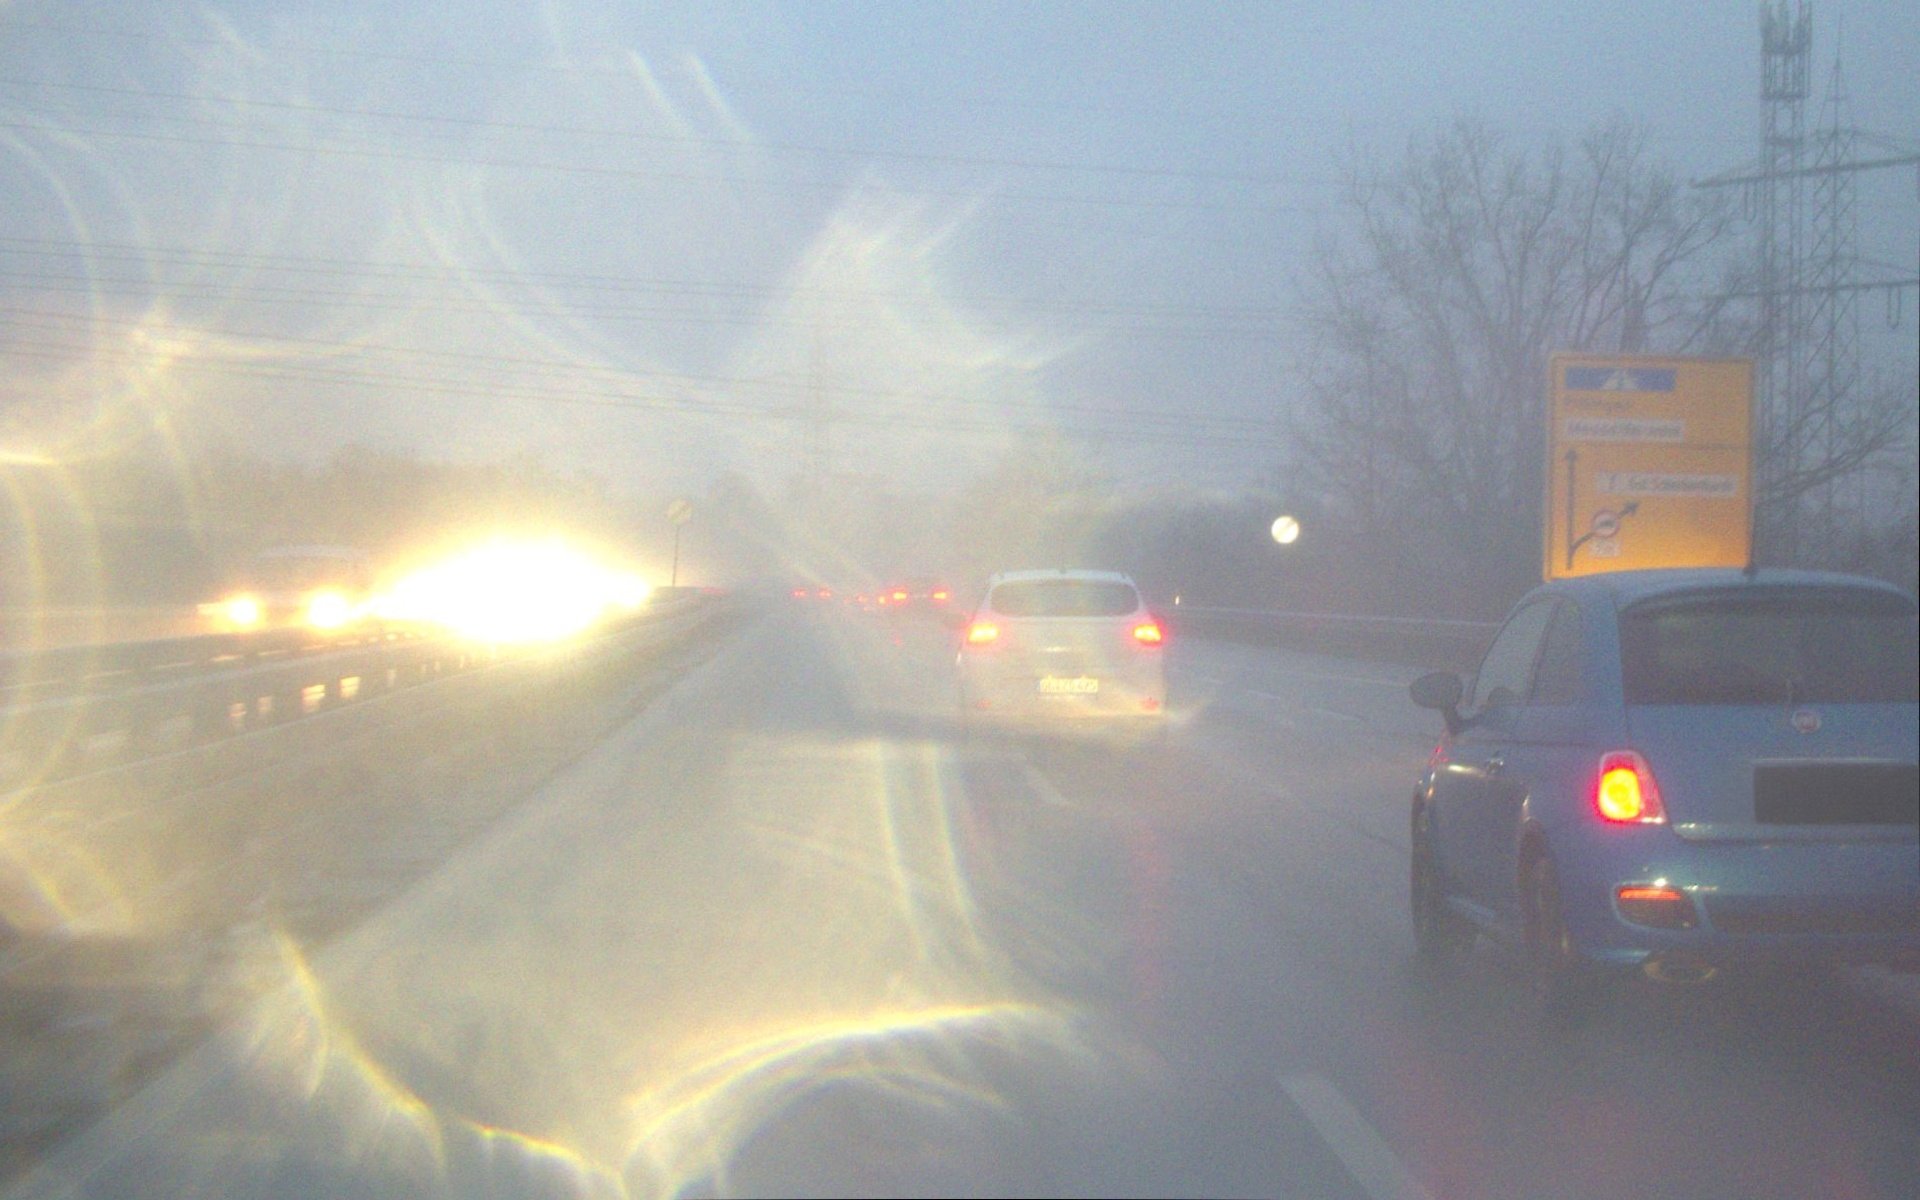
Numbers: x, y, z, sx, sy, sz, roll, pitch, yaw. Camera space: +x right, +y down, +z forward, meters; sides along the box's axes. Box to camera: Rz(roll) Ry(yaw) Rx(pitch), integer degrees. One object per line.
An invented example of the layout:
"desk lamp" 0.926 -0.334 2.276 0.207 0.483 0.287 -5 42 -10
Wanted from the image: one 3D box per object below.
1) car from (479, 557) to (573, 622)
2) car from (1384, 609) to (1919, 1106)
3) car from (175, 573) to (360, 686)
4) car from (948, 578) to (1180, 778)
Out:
"car" -10.973 -0.282 87.188 1.817 1.546 4.469 0 2 0
"car" 2.722 0.821 12.945 1.845 1.448 4.149 0 2 2
"car" -10.436 0.414 52.086 1.993 1.546 4.137 0 2 -1
"car" 0.857 0.635 30.396 1.845 1.630 3.768 1 1 -1
